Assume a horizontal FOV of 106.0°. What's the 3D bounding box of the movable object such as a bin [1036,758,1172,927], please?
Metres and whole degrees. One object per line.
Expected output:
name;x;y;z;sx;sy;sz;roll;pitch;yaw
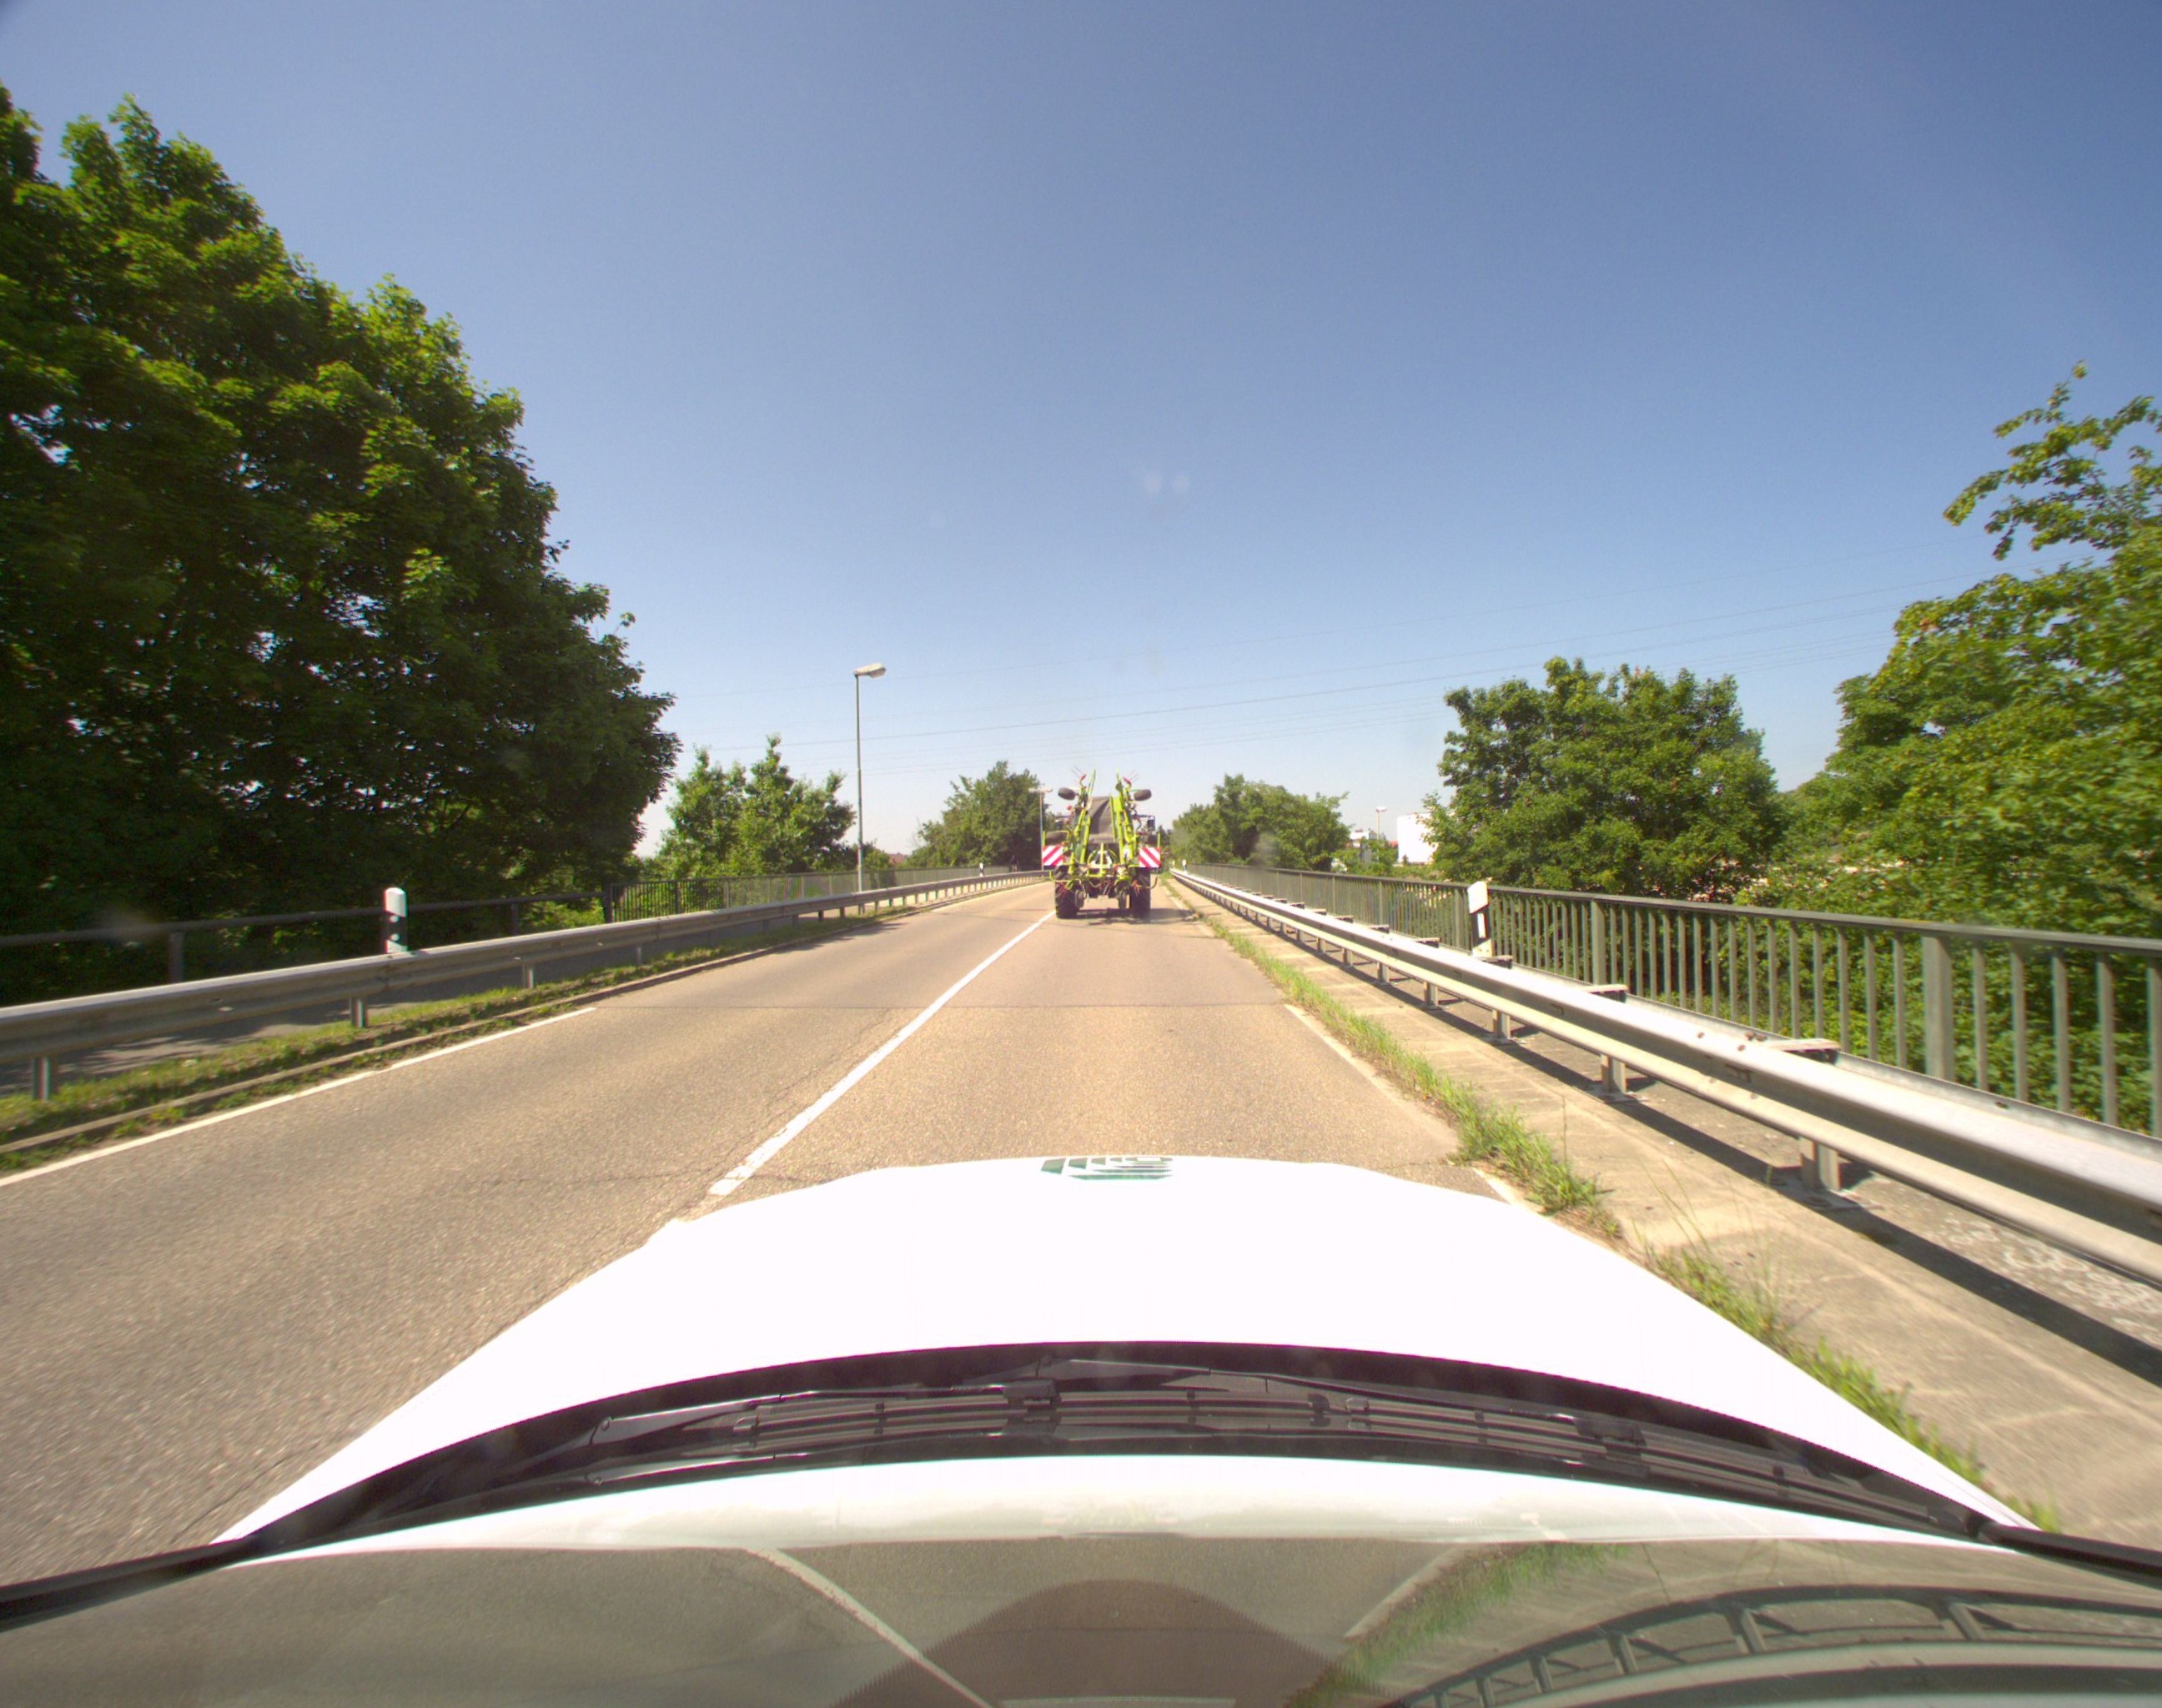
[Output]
movable object such as a bin;0.560;-0.259;19.648;2.745;3.444;5.672;-1;0;2

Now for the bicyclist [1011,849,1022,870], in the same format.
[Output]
bicyclist;-5.116;0.409;64.531;0.762;1.633;0.896;-2;0;3

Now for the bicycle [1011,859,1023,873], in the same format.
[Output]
bicycle;-5.061;0.960;64.473;0.674;1.001;2.120;-2;0;2
